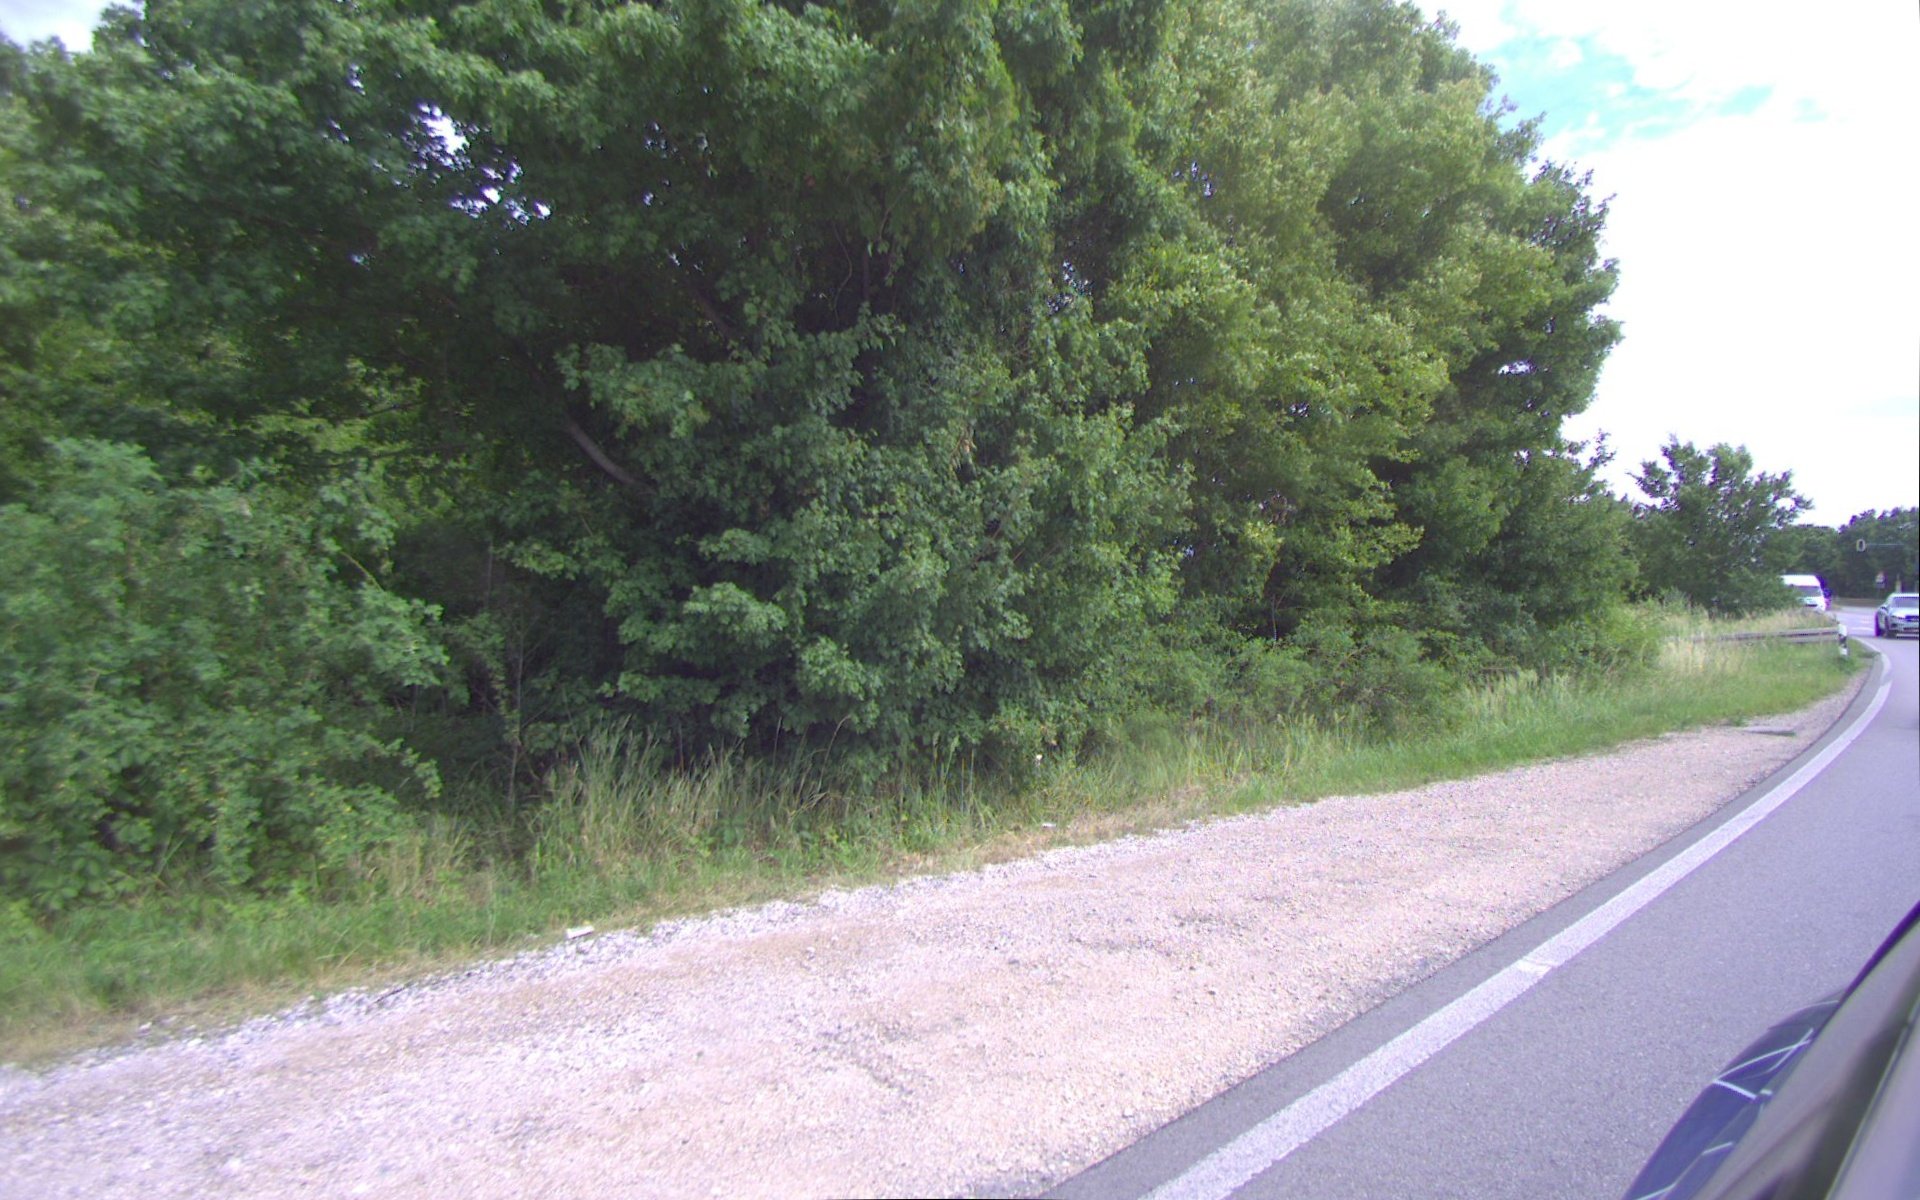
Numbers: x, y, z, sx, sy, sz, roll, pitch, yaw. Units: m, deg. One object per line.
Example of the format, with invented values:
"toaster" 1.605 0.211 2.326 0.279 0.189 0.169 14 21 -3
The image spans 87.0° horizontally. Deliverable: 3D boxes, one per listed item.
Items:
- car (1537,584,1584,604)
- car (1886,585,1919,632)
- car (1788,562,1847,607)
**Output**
"car" 61.439 -0.598 103.609 3.959 2.039 1.982 1 0 26
"car" 35.039 0.279 36.564 2.012 1.633 4.220 0 0 39
"car" 55.424 -0.970 65.472 2.204 2.705 5.176 -1 -2 33
